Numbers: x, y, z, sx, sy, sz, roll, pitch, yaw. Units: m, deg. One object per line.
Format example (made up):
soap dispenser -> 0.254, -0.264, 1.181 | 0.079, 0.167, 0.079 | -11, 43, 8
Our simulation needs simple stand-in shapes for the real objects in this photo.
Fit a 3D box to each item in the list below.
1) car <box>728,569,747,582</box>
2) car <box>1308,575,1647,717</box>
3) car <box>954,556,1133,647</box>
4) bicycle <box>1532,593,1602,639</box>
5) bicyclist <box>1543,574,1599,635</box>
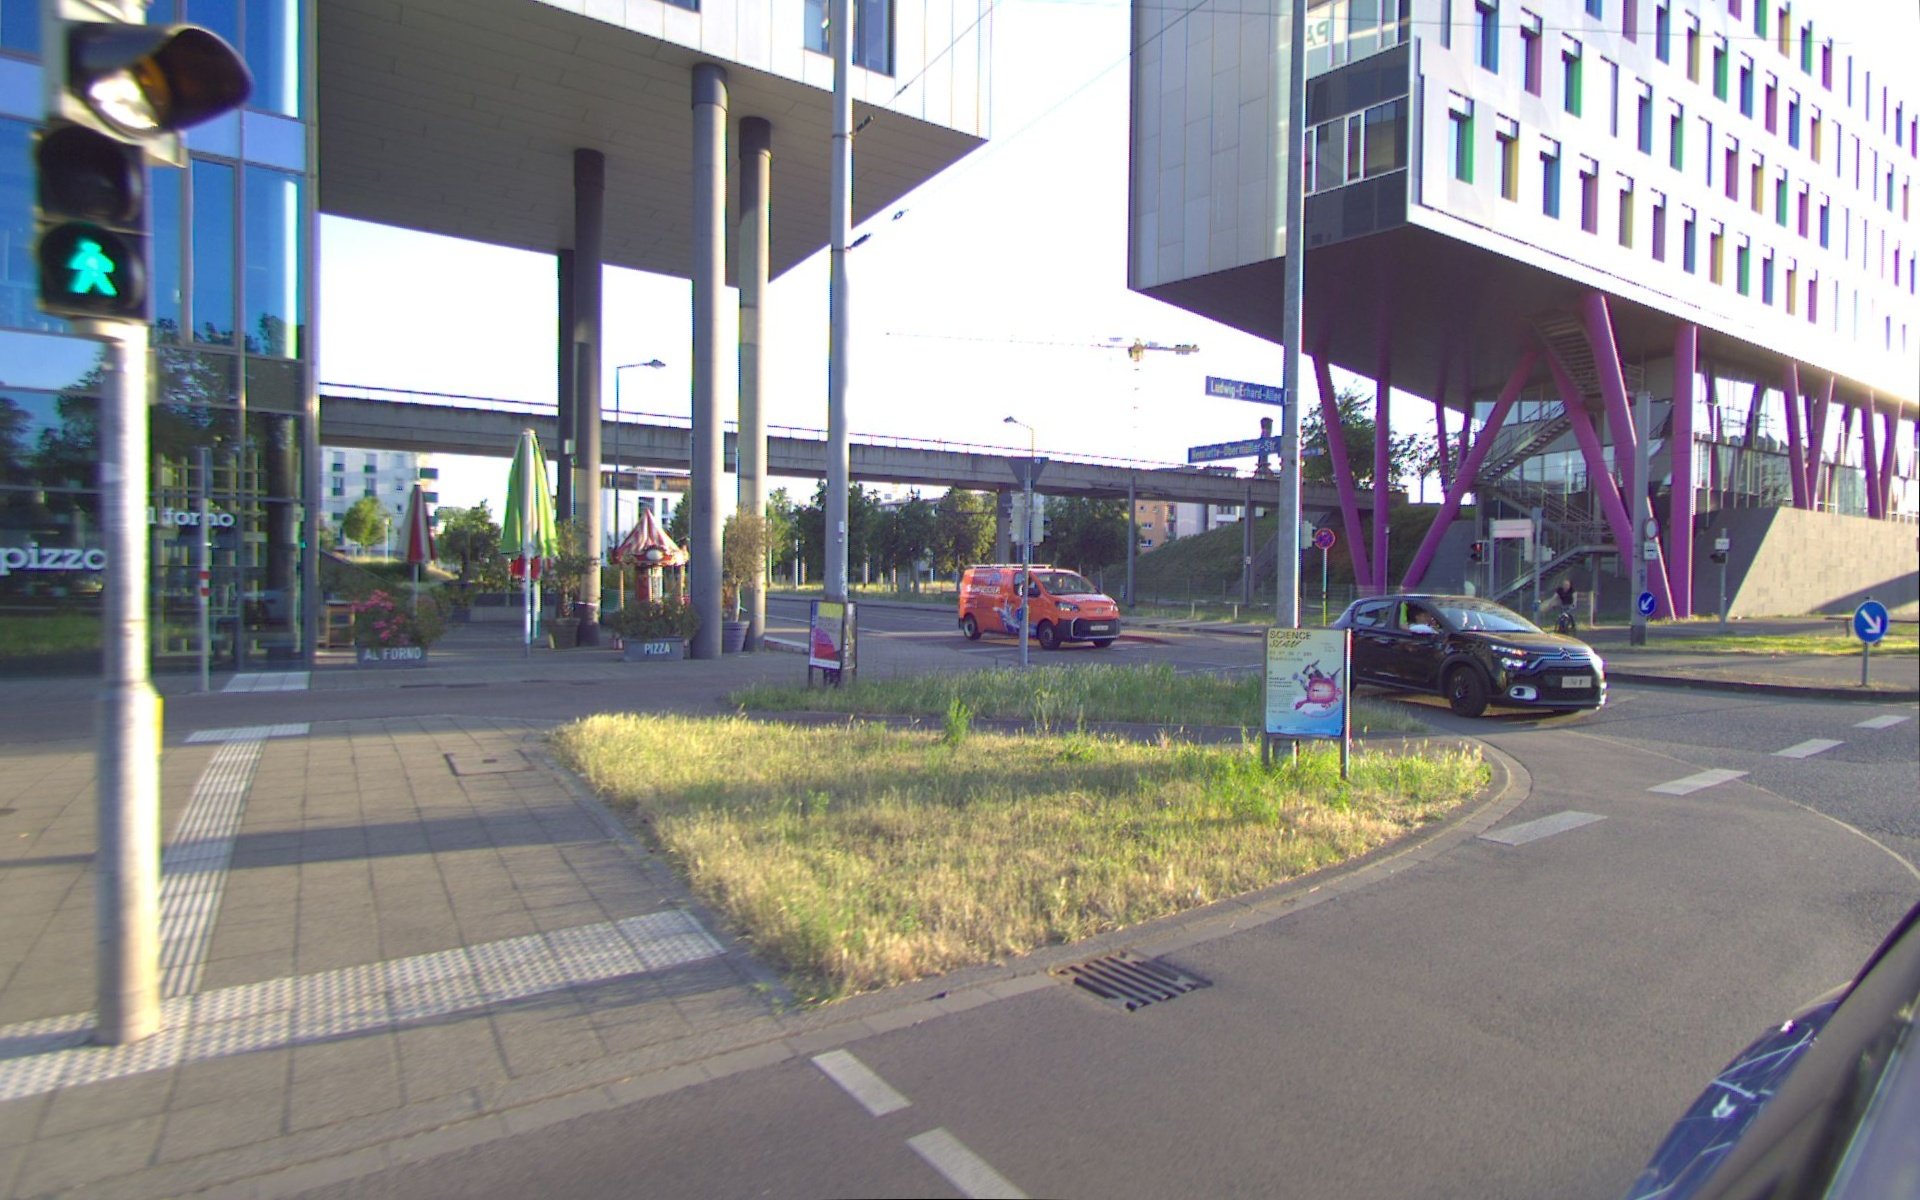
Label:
car -> -29.286, -3.229, 133.033 | 1.833, 1.742, 3.853 | 0, 1, -23
car -> 6.645, 0.473, 13.570 | 1.724, 1.571, 4.081 | 0, 1, -15
car -> 1.922, -0.054, 24.991 | 1.895, 2.015, 4.825 | -1, 2, -32
bicycle -> 16.801, 0.419, 28.012 | 2.068, 1.222, 0.744 | 0, 1, -30
bicyclist -> 16.964, 0.103, 28.108 | 1.262, 1.653, 0.808 | 0, 1, -31
